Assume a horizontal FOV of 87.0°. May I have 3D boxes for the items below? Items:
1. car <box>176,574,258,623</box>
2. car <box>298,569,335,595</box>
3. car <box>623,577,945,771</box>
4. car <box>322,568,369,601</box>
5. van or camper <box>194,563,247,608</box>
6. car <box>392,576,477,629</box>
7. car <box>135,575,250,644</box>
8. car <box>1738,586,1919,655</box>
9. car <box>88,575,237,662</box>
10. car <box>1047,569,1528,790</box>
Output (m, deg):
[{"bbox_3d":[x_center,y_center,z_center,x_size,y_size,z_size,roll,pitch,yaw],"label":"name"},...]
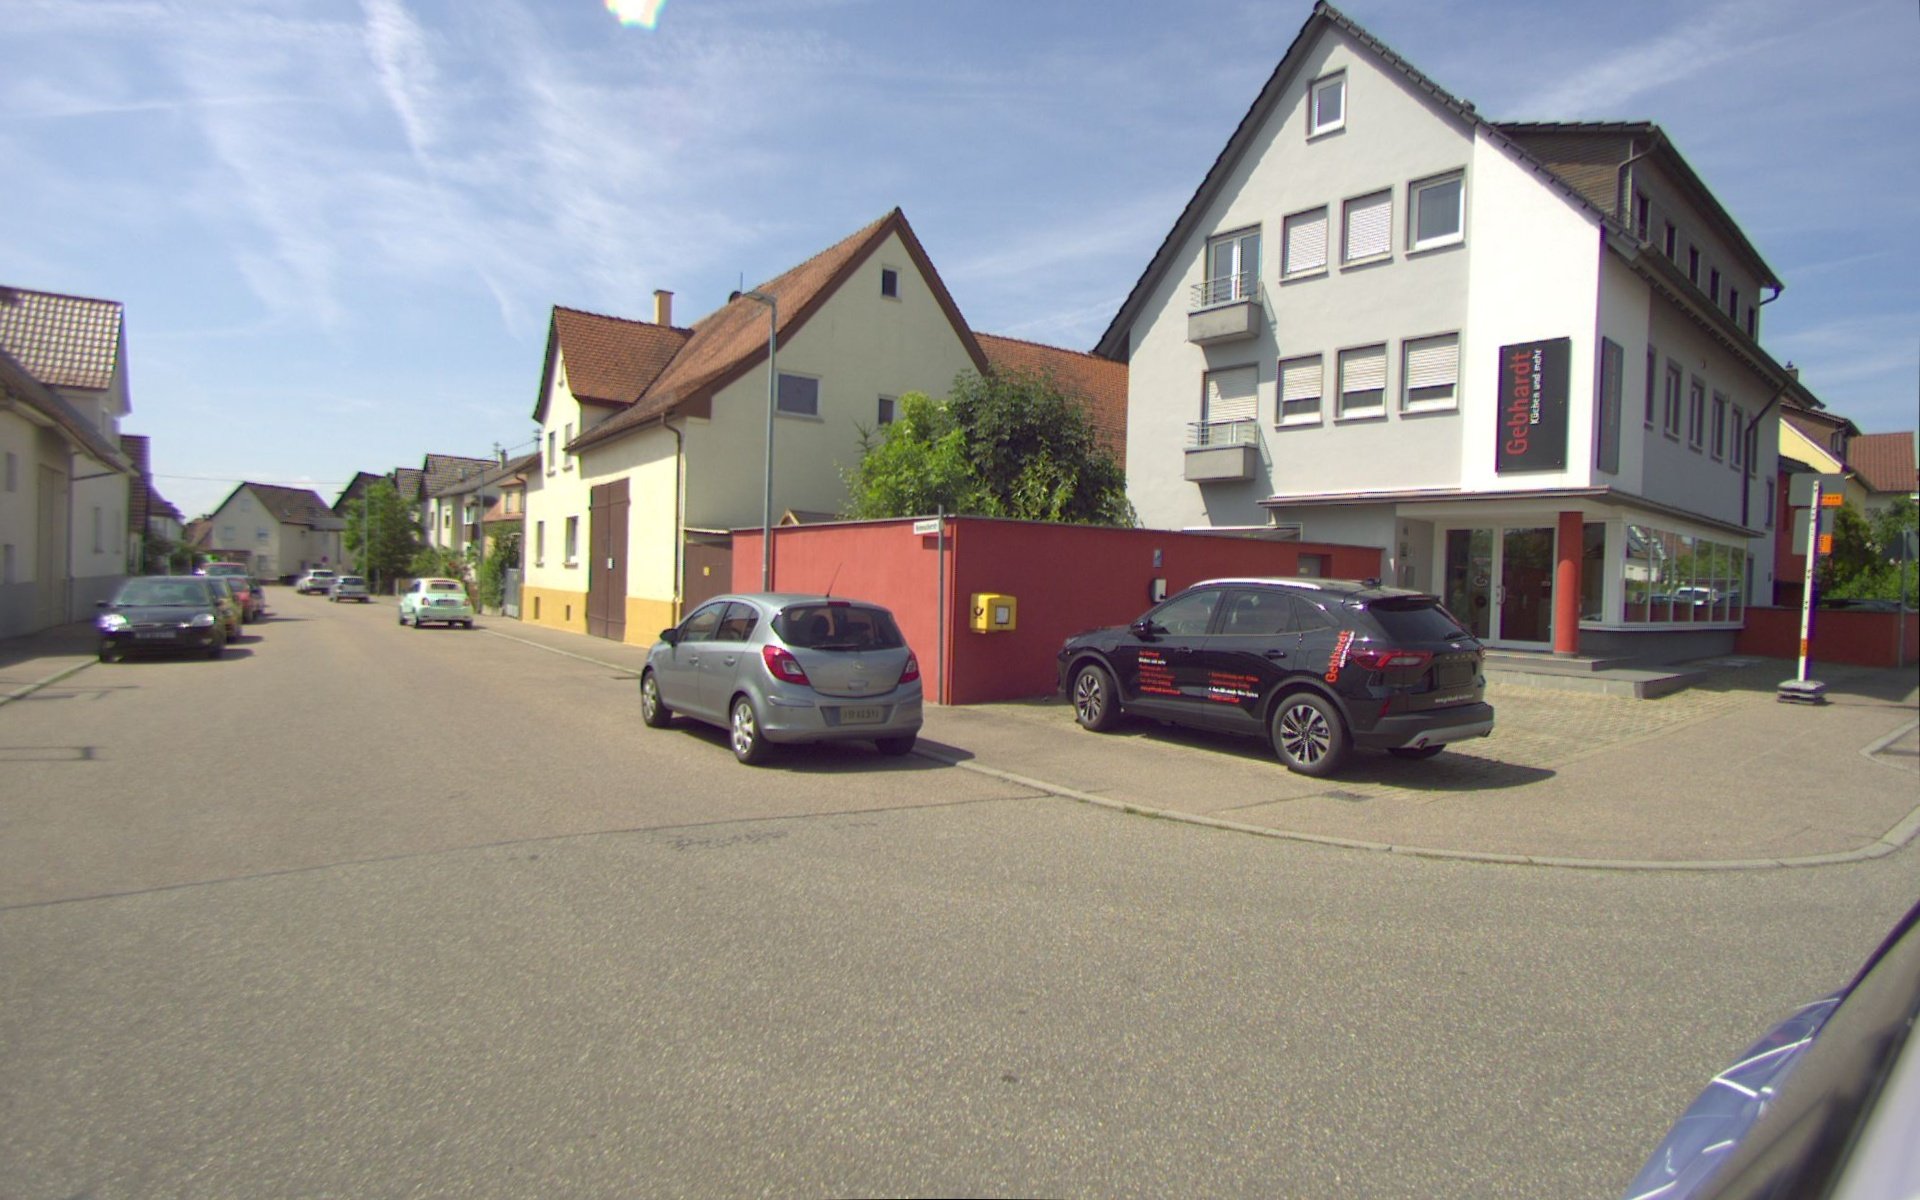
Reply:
[{"bbox_3d":[-22.682,-0.083,31.018,1.669,1.408,4.003,0,1,-32],"label":"car"},{"bbox_3d":[-44.490,-1.250,69.938,1.813,1.769,3.997,0,1,-38],"label":"car"},{"bbox_3d":[-1.960,0.571,10.177,1.661,1.523,4.001,2,0,-34],"label":"car"},{"bbox_3d":[-34.399,-0.865,56.609,1.813,1.769,3.997,0,1,-38],"label":"car"},{"bbox_3d":[-33.179,-0.680,45.506,1.839,1.901,4.401,0,1,-35],"label":"van or camper"},{"bbox_3d":[-16.353,0.038,31.417,1.727,1.499,3.999,2,0,-36],"label":"car"},{"bbox_3d":[-17.198,0.148,22.839,1.669,1.408,4.003,0,1,-32],"label":"car"},{"bbox_3d":[25.099,0.601,28.773,1.844,1.690,4.372,0,-4,-41],"label":"car"},{"bbox_3d":[-14.436,0.257,18.512,1.669,1.408,4.003,0,1,-32],"label":"car"},{"bbox_3d":[2.930,0.564,9.979,1.812,1.674,4.308,0,1,-34],"label":"car"}]
